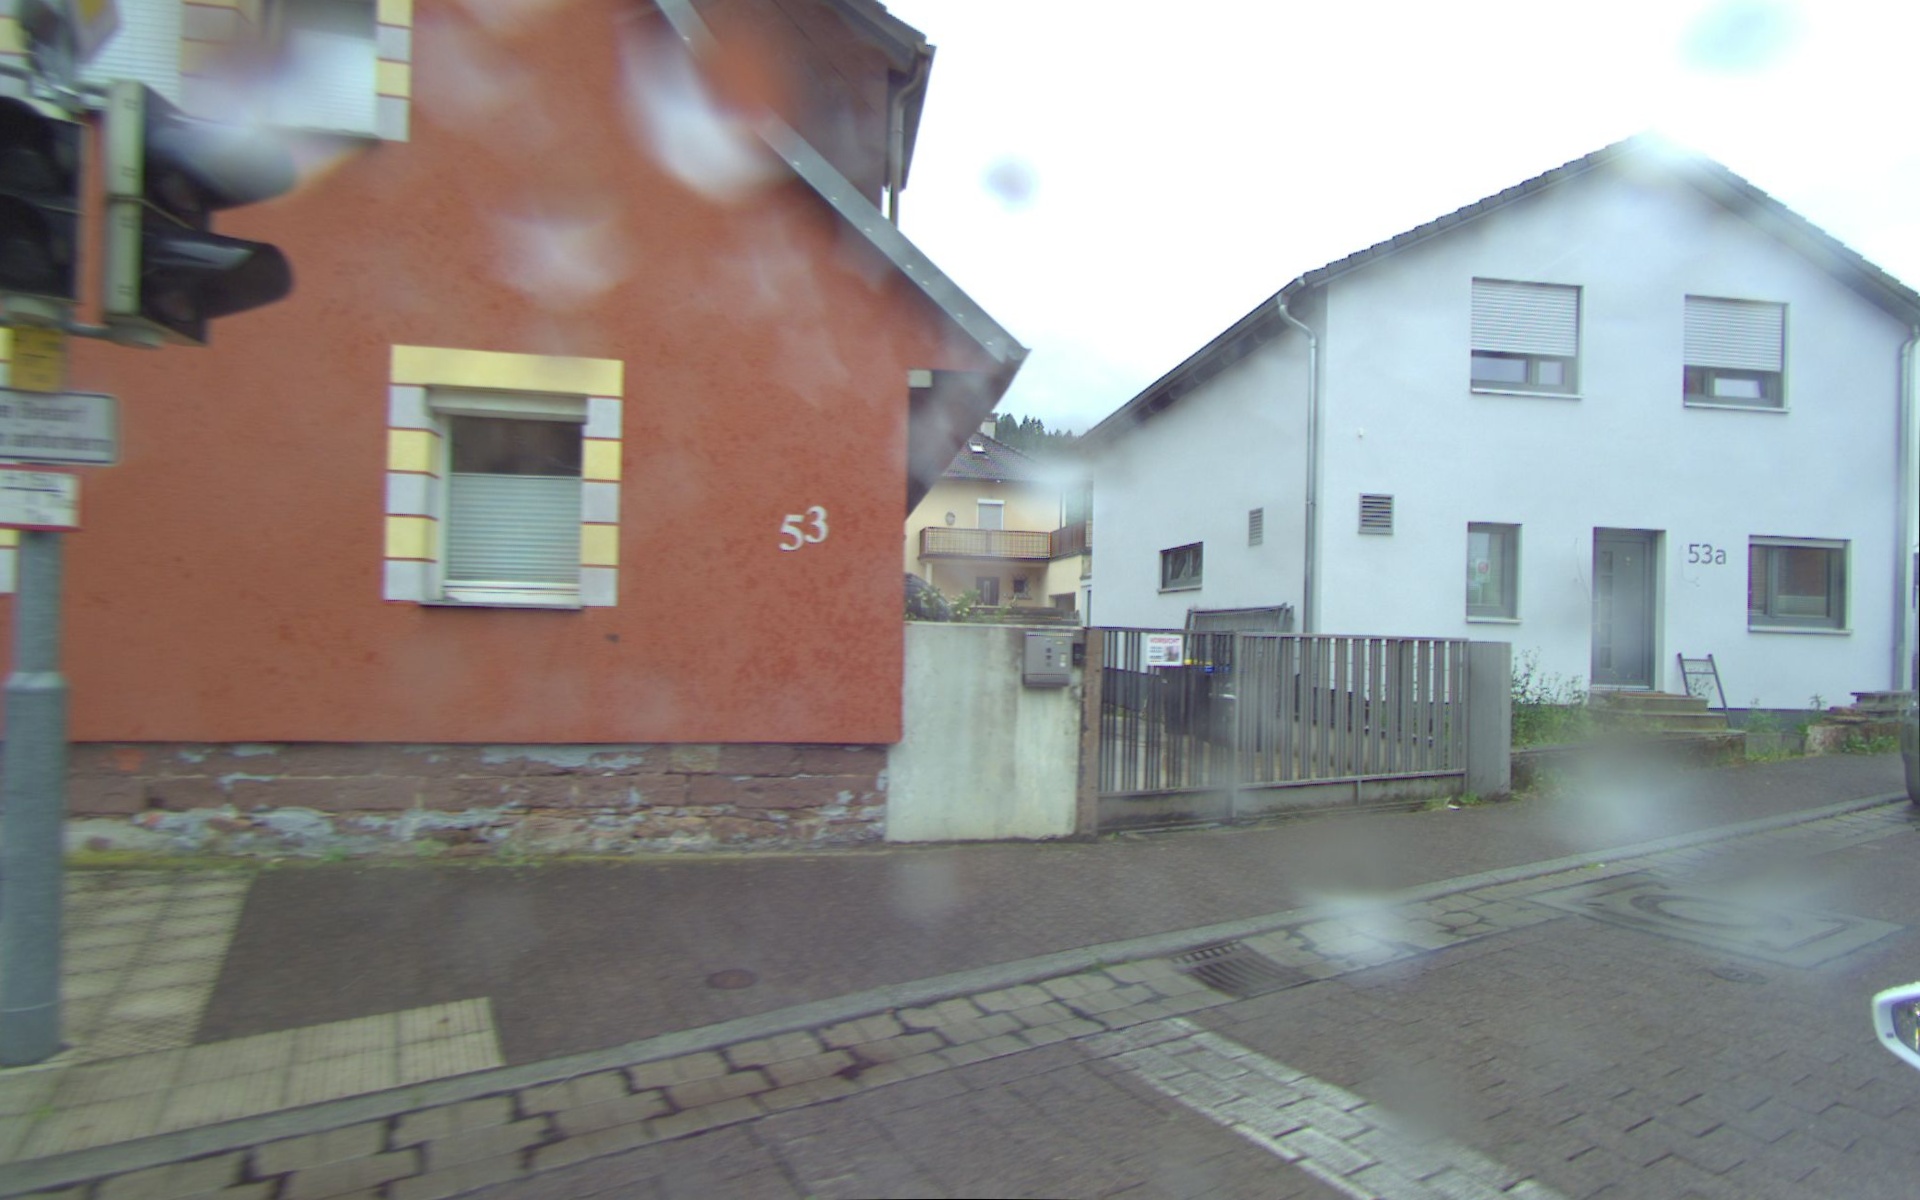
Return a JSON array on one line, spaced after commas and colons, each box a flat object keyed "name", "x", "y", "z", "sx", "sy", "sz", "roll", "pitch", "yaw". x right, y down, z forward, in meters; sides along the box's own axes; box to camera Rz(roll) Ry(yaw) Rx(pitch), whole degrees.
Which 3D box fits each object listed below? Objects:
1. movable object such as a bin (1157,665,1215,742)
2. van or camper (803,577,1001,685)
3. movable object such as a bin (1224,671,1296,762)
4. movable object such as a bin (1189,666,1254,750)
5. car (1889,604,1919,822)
[{"name": "movable object such as a bin", "x": 3.309, "y": 1.505, "z": 14.744, "sx": 0.663, "sy": 1.069, "sz": 0.613, "roll": 1, "pitch": 0, "yaw": -8}, {"name": "van or camper", "x": -1.619, "y": 0.941, "z": 29.622, "sx": 5.604, "sy": 3.002, "sz": 2.207, "roll": 1, "pitch": -3, "yaw": 2}, {"name": "movable object such as a bin", "x": 3.750, "y": 1.440, "z": 12.589, "sx": 0.663, "sy": 1.069, "sz": 0.613, "roll": 1, "pitch": 0, "yaw": -8}, {"name": "movable object such as a bin", "x": 3.526, "y": 1.450, "z": 13.583, "sx": 0.663, "sy": 1.069, "sz": 0.613, "roll": 1, "pitch": 0, "yaw": -8}, {"name": "car", "x": 9.970, "y": 0.915, "z": 8.715, "sx": 3.972, "sy": 1.802, "sz": 1.803, "roll": 0, "pitch": -2, "yaw": -32}]
